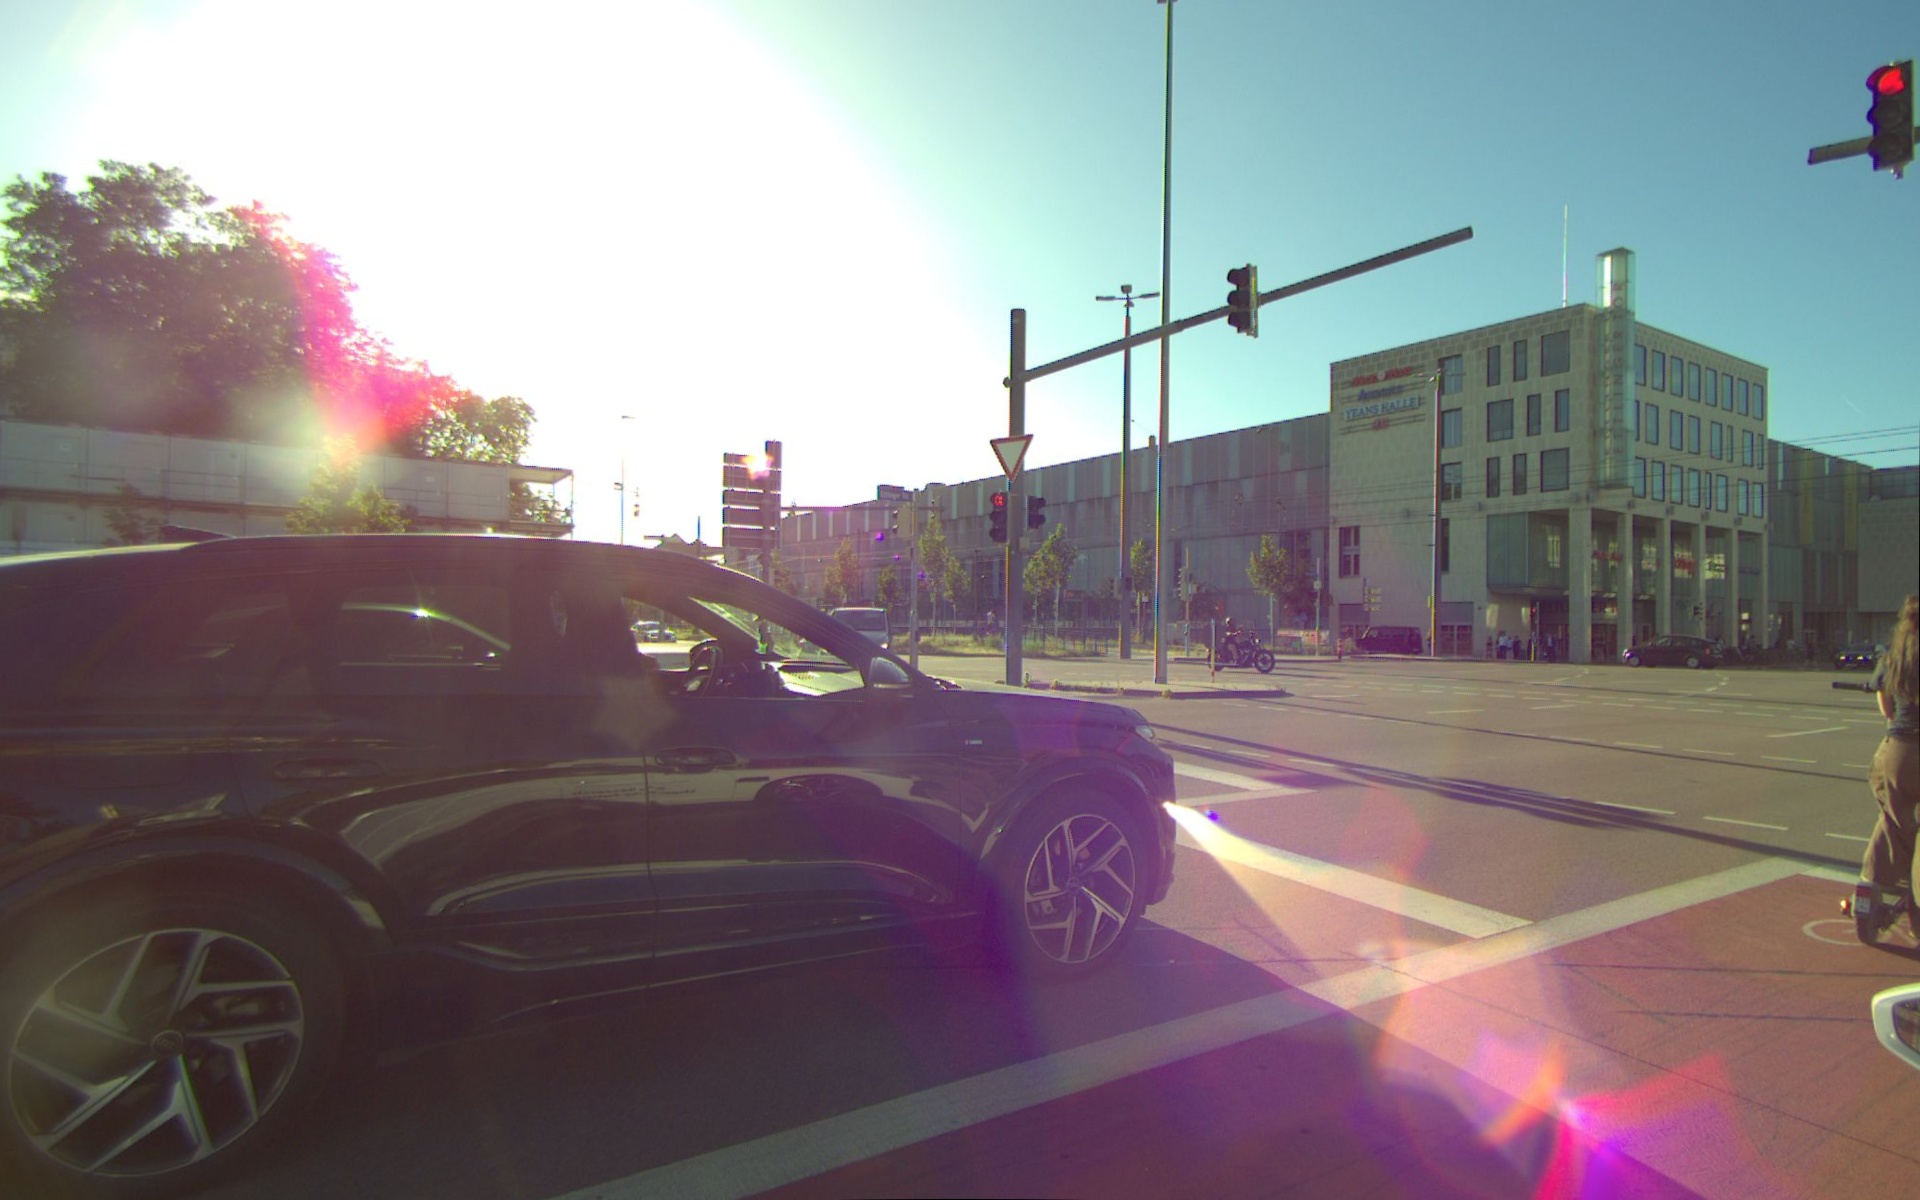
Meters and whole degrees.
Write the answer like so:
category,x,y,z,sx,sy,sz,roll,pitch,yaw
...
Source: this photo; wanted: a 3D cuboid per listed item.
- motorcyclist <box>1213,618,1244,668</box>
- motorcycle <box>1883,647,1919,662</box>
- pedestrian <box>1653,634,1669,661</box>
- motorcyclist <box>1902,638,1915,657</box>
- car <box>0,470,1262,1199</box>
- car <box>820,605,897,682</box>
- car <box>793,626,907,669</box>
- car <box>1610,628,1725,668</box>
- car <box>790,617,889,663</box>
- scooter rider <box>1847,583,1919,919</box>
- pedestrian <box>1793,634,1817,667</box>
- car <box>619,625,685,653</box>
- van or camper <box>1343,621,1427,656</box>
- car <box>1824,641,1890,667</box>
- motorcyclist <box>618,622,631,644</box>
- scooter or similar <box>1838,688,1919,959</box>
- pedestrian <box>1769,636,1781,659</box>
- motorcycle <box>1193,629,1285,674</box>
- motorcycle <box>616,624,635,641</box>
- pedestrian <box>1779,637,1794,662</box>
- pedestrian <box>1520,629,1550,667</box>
category,x,y,z,sx,sy,sz,roll,pitch,yaw
motorcyclist,7.927,1.253,29.604,0.650,1.442,0.644,-1,0,44
motorcycle,70.797,4.091,75.060,1.106,1.006,2.582,2,0,-38
pedestrian,43.681,2.961,62.601,0.622,1.667,0.589,1,-1,-30
motorcyclist,71.023,3.557,75.224,0.657,1.424,0.623,2,0,-38
car,-1.214,0.606,4.072,4.612,1.729,2.154,1,0,-32
car,-2.723,1.163,27.999,1.851,1.947,4.929,1,-1,-3
car,-3.866,1.620,34.909,3.883,1.395,1.721,-1,-2,39
car,32.283,2.162,45.958,1.741,1.706,3.967,1,-1,-30
car,-5.287,1.677,43.673,1.873,1.888,4.771,2,-2,-43
scooter rider,4.615,0.700,4.755,0.445,1.550,0.548,1,-1,-38
pedestrian,43.910,2.619,52.207,0.617,1.660,0.775,1,-1,-23
car,-19.030,2.388,61.891,1.985,1.585,5.039,2,-2,-41
van or camper,25.867,2.337,61.312,1.974,2.040,4.388,1,-1,-34
car,49.623,2.945,55.542,3.975,1.375,1.668,1,-1,-31
motorcyclist,-22.860,2.264,68.391,0.594,1.499,0.744,1,-1,-37
scooter or similar,4.374,0.994,4.694,0.832,1.122,0.303,2,-1,-42
pedestrian,61.558,3.594,75.837,0.510,1.705,0.472,2,0,9
motorcycle,8.124,1.489,29.384,2.567,1.224,0.725,-1,-1,44
motorcycle,-22.734,2.180,68.286,0.643,1.115,1.940,1,-1,-37
pedestrian,60.029,3.608,72.935,0.681,1.752,0.472,2,0,9
pedestrian,26.164,2.191,45.698,0.994,1.697,0.818,1,-1,-33
